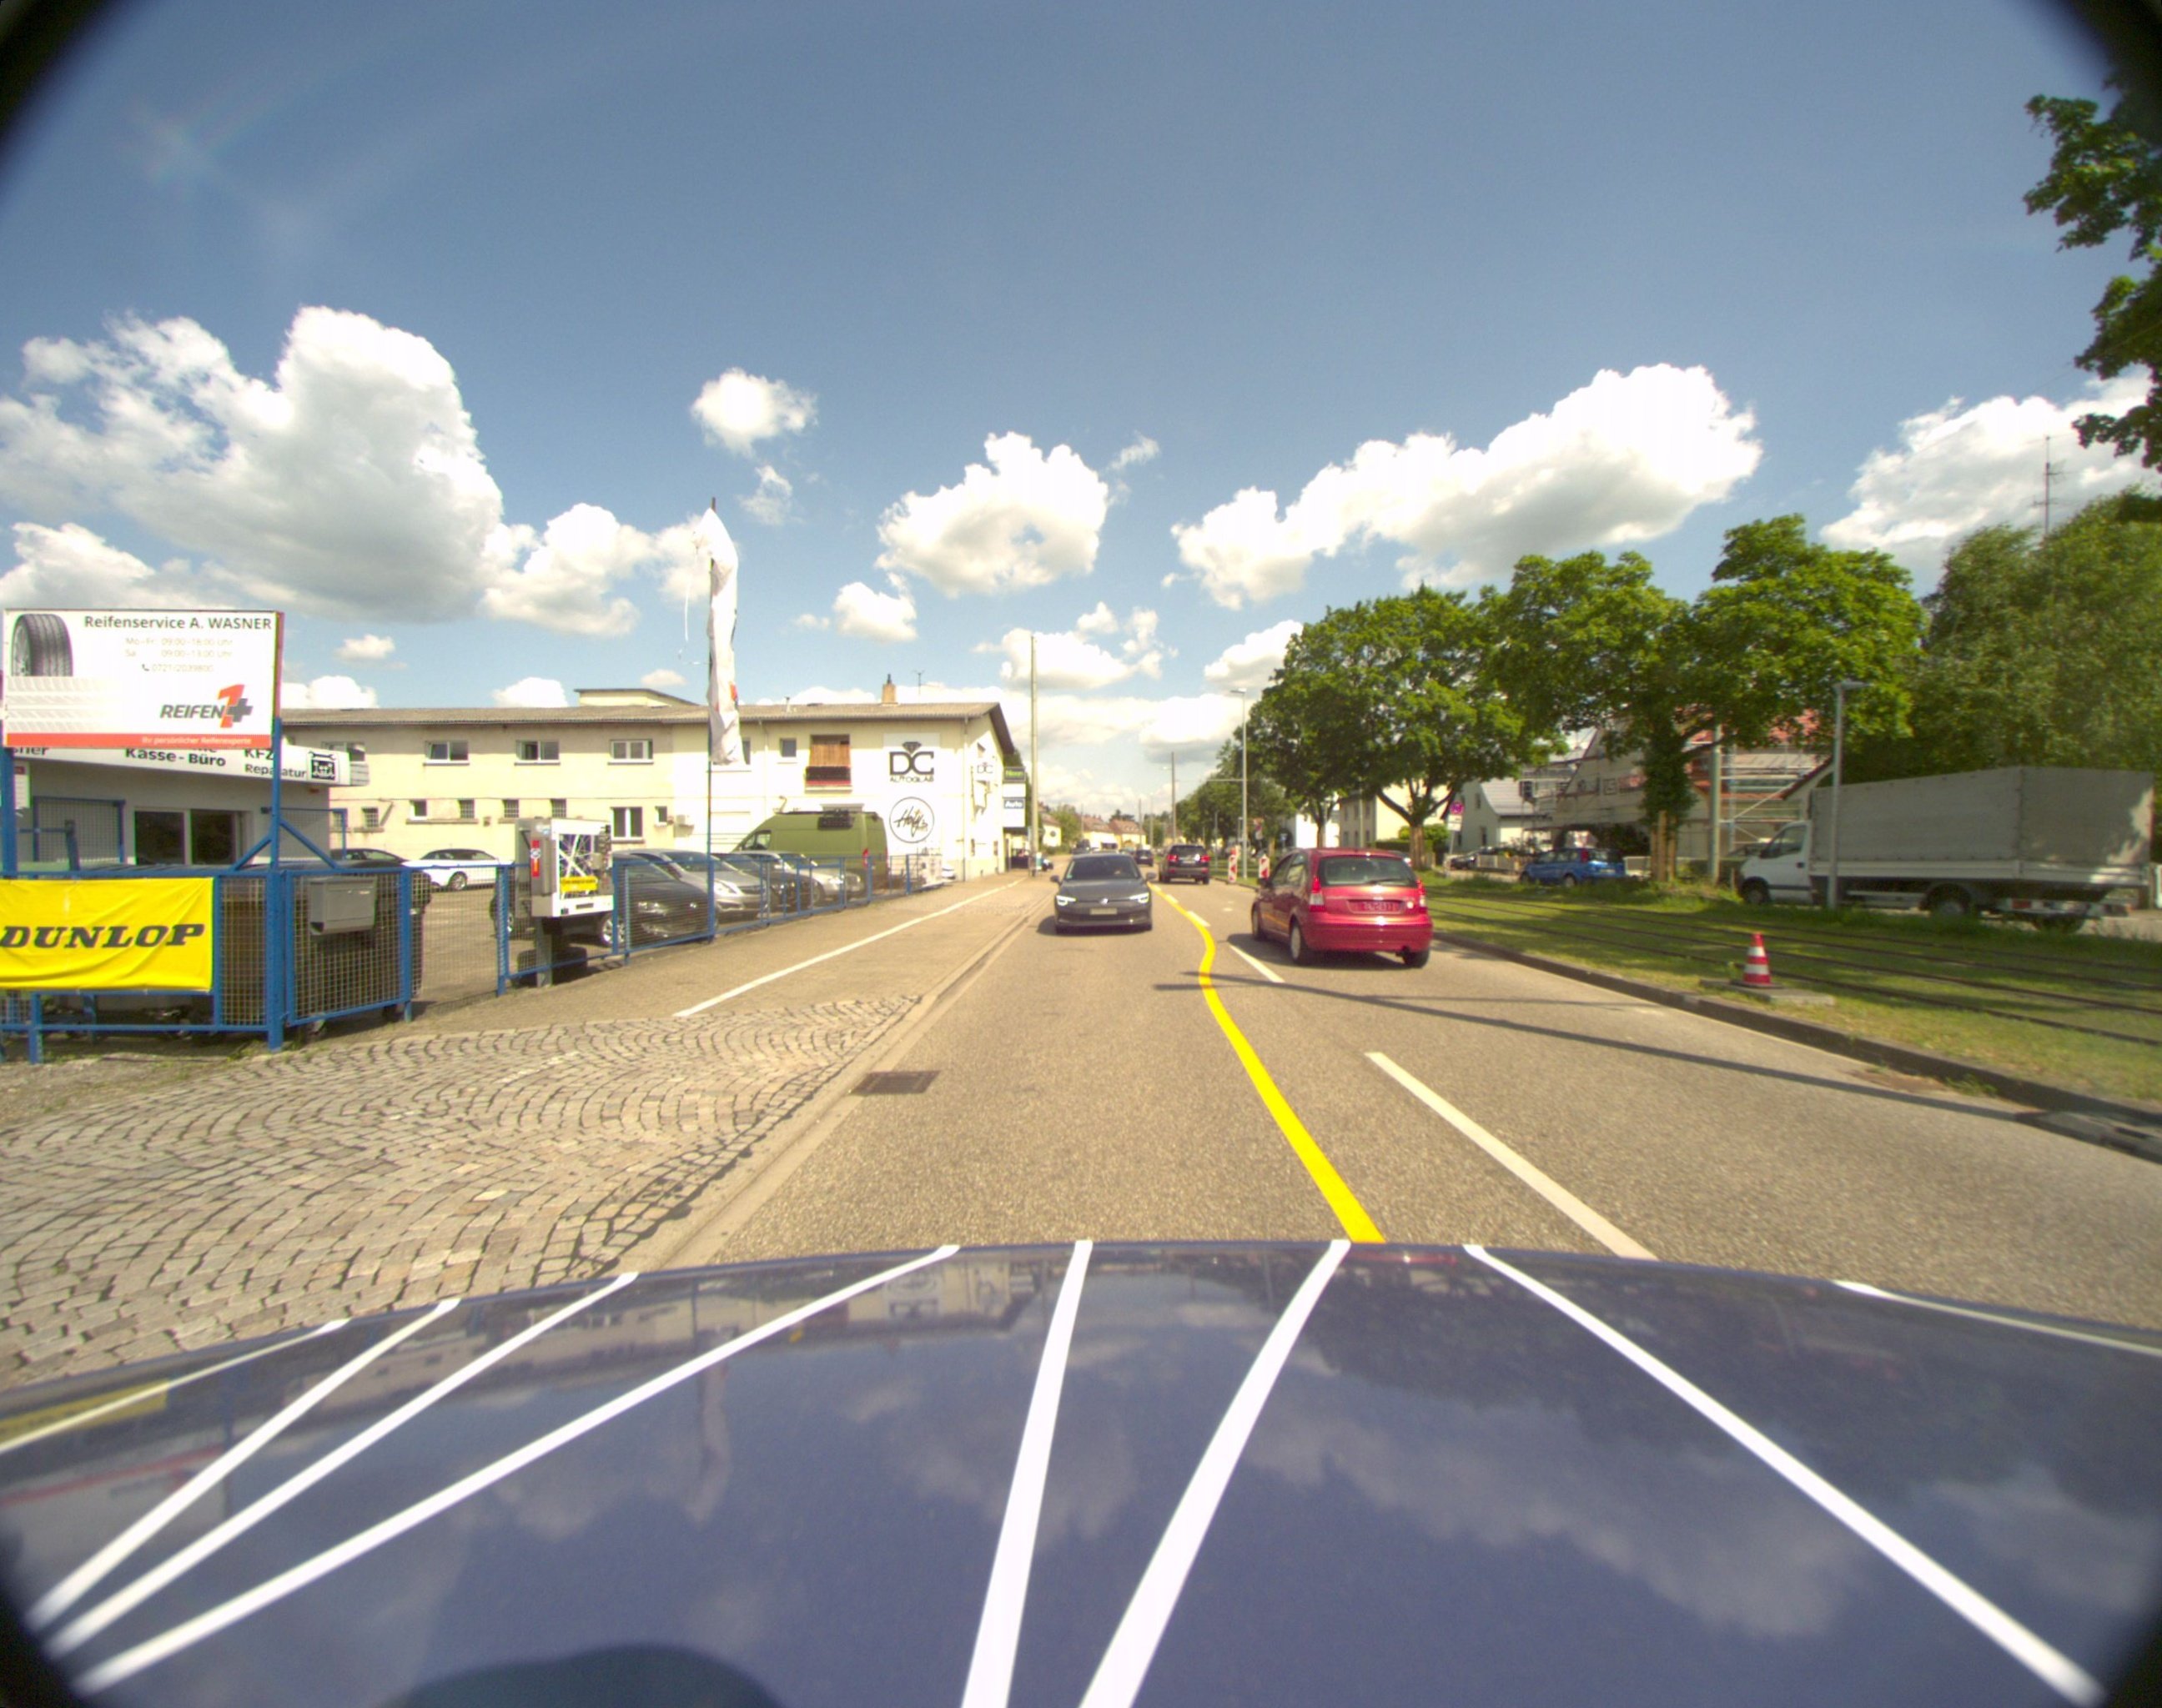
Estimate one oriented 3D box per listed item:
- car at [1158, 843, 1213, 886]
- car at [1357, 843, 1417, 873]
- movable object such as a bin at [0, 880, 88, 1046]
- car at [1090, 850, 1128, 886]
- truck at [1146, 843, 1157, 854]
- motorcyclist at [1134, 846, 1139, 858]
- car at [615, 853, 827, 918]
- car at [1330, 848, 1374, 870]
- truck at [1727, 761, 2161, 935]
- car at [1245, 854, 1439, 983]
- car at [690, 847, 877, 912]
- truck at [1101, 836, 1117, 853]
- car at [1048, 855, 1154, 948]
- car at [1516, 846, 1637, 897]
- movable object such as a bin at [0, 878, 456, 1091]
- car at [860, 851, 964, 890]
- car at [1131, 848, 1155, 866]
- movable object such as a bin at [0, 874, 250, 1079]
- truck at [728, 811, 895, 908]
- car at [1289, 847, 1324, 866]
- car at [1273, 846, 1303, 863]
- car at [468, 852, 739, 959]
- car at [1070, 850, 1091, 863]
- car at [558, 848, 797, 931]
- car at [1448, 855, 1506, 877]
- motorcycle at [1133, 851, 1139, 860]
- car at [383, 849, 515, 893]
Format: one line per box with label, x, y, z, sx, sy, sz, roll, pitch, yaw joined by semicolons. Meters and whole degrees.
car;4.371;0.408;32.355;1.801;1.680;4.221;1;1;1
car;17.533;0.193;43.786;1.707;1.504;4.524;-2;1;2
movable object such as a bin;-10.152;0.996;6.250;1.535;1.402;1.765;-2;1;1
car;1.279;0.588;34.420;1.594;1.418;3.707;-2;1;2
truck;19.229;-1.595;207.566;2.665;2.787;7.539;-2;1;5
motorcyclist;6.577;-0.226;90.268;0.651;1.434;0.588;0;2;2
car;-8.478;0.735;18.069;4.257;1.366;1.741;-1;1;9
car;17.709;0.302;49.802;1.624;1.235;3.787;-2;1;2
truck;16.843;-0.162;15.519;2.370;2.789;5.950;-2;1;2
car;3.438;0.756;10.731;1.582;1.461;3.720;0;1;2
car;-7.904;0.668;20.350;4.257;1.499;1.828;-2;2;10
truck;5.333;-1.792;141.678;2.631;2.872;7.924;-2;1;4
car;0.435;0.798;14.957;1.742;1.410;4.381;-2;1;3
car;16.876;0.552;26.099;1.672;1.504;3.930;-2;1;2
movable object such as a bin;-6.800;0.948;6.163;1.967;1.339;1.708;-2;1;1
car;-6.777;0.645;30.591;3.725;1.350;1.518;-2;2;5
car;5.232;0.234;64.399;1.715;1.478;4.535;1;1;0
movable object such as a bin;-8.567;0.938;6.200;1.535;1.402;1.765;-2;1;1
truck;-8.123;0.144;23.187;4.180;2.645;2.108;-2;2;3
car;17.626;0.183;59.463;1.636;1.294;4.000;-2;1;2
car;17.777;0.046;65.458;1.636;1.294;4.000;-2;1;2
car;-7.815;0.756;12.488;3.901;1.455;1.627;1;3;18
car;-0.049;0.249;85.778;1.823;1.412;4.002;0;1;8
car;-8.244;0.719;15.584;4.254;1.496;1.829;-2;2;18
car;25.908;0.791;49.701;3.237;1.375;1.490;-1;2;32
motorcycle;6.546;0.182;90.430;0.706;1.036;2.465;0;1;2
car;-20.824;0.533;25.204;1.453;1.255;3.276;-2;1;3
